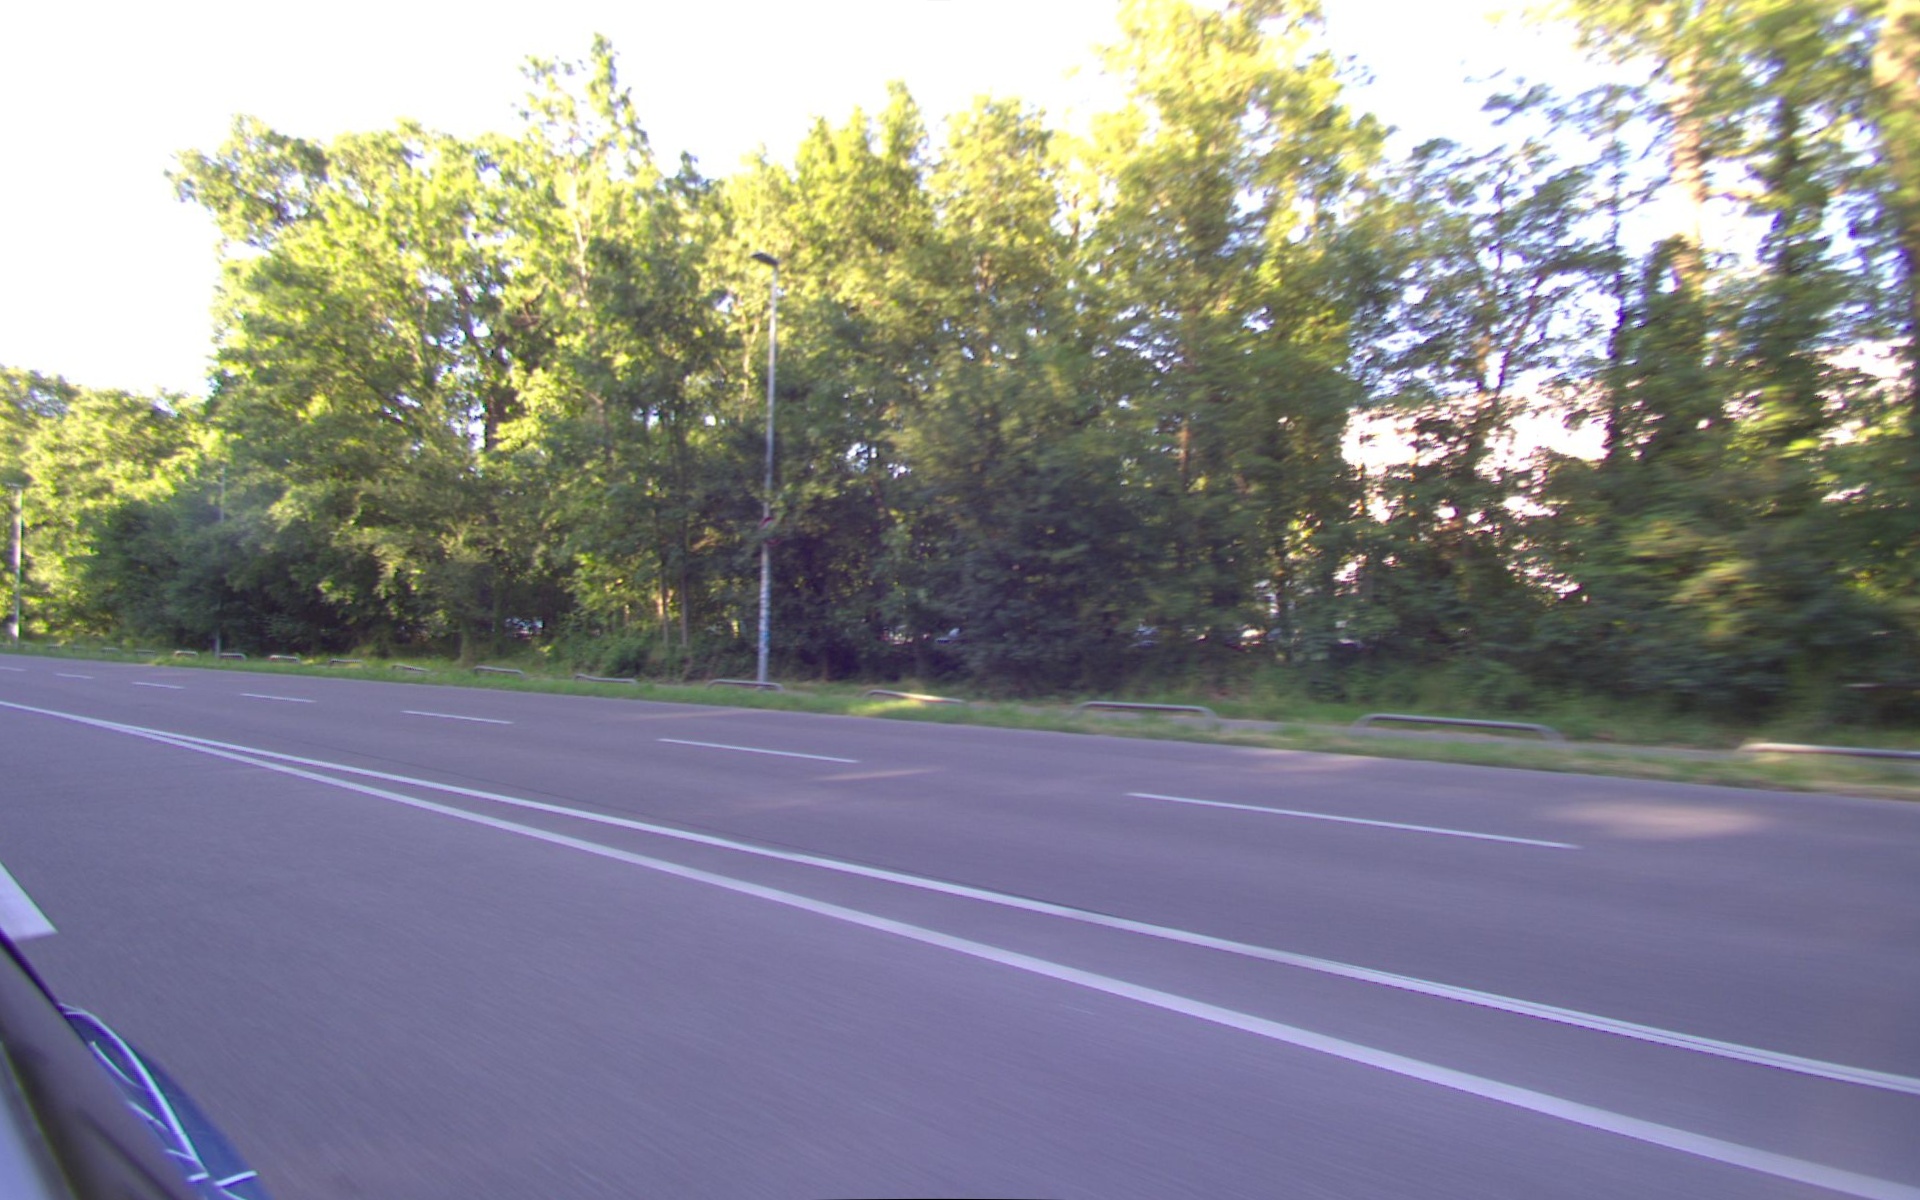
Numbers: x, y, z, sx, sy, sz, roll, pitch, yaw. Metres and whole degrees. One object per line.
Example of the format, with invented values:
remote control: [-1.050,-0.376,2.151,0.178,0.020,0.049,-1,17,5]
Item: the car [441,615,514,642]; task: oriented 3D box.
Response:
car: [-32.387,1.868,67.987,1.996,1.652,3.951,-1,0,36]
